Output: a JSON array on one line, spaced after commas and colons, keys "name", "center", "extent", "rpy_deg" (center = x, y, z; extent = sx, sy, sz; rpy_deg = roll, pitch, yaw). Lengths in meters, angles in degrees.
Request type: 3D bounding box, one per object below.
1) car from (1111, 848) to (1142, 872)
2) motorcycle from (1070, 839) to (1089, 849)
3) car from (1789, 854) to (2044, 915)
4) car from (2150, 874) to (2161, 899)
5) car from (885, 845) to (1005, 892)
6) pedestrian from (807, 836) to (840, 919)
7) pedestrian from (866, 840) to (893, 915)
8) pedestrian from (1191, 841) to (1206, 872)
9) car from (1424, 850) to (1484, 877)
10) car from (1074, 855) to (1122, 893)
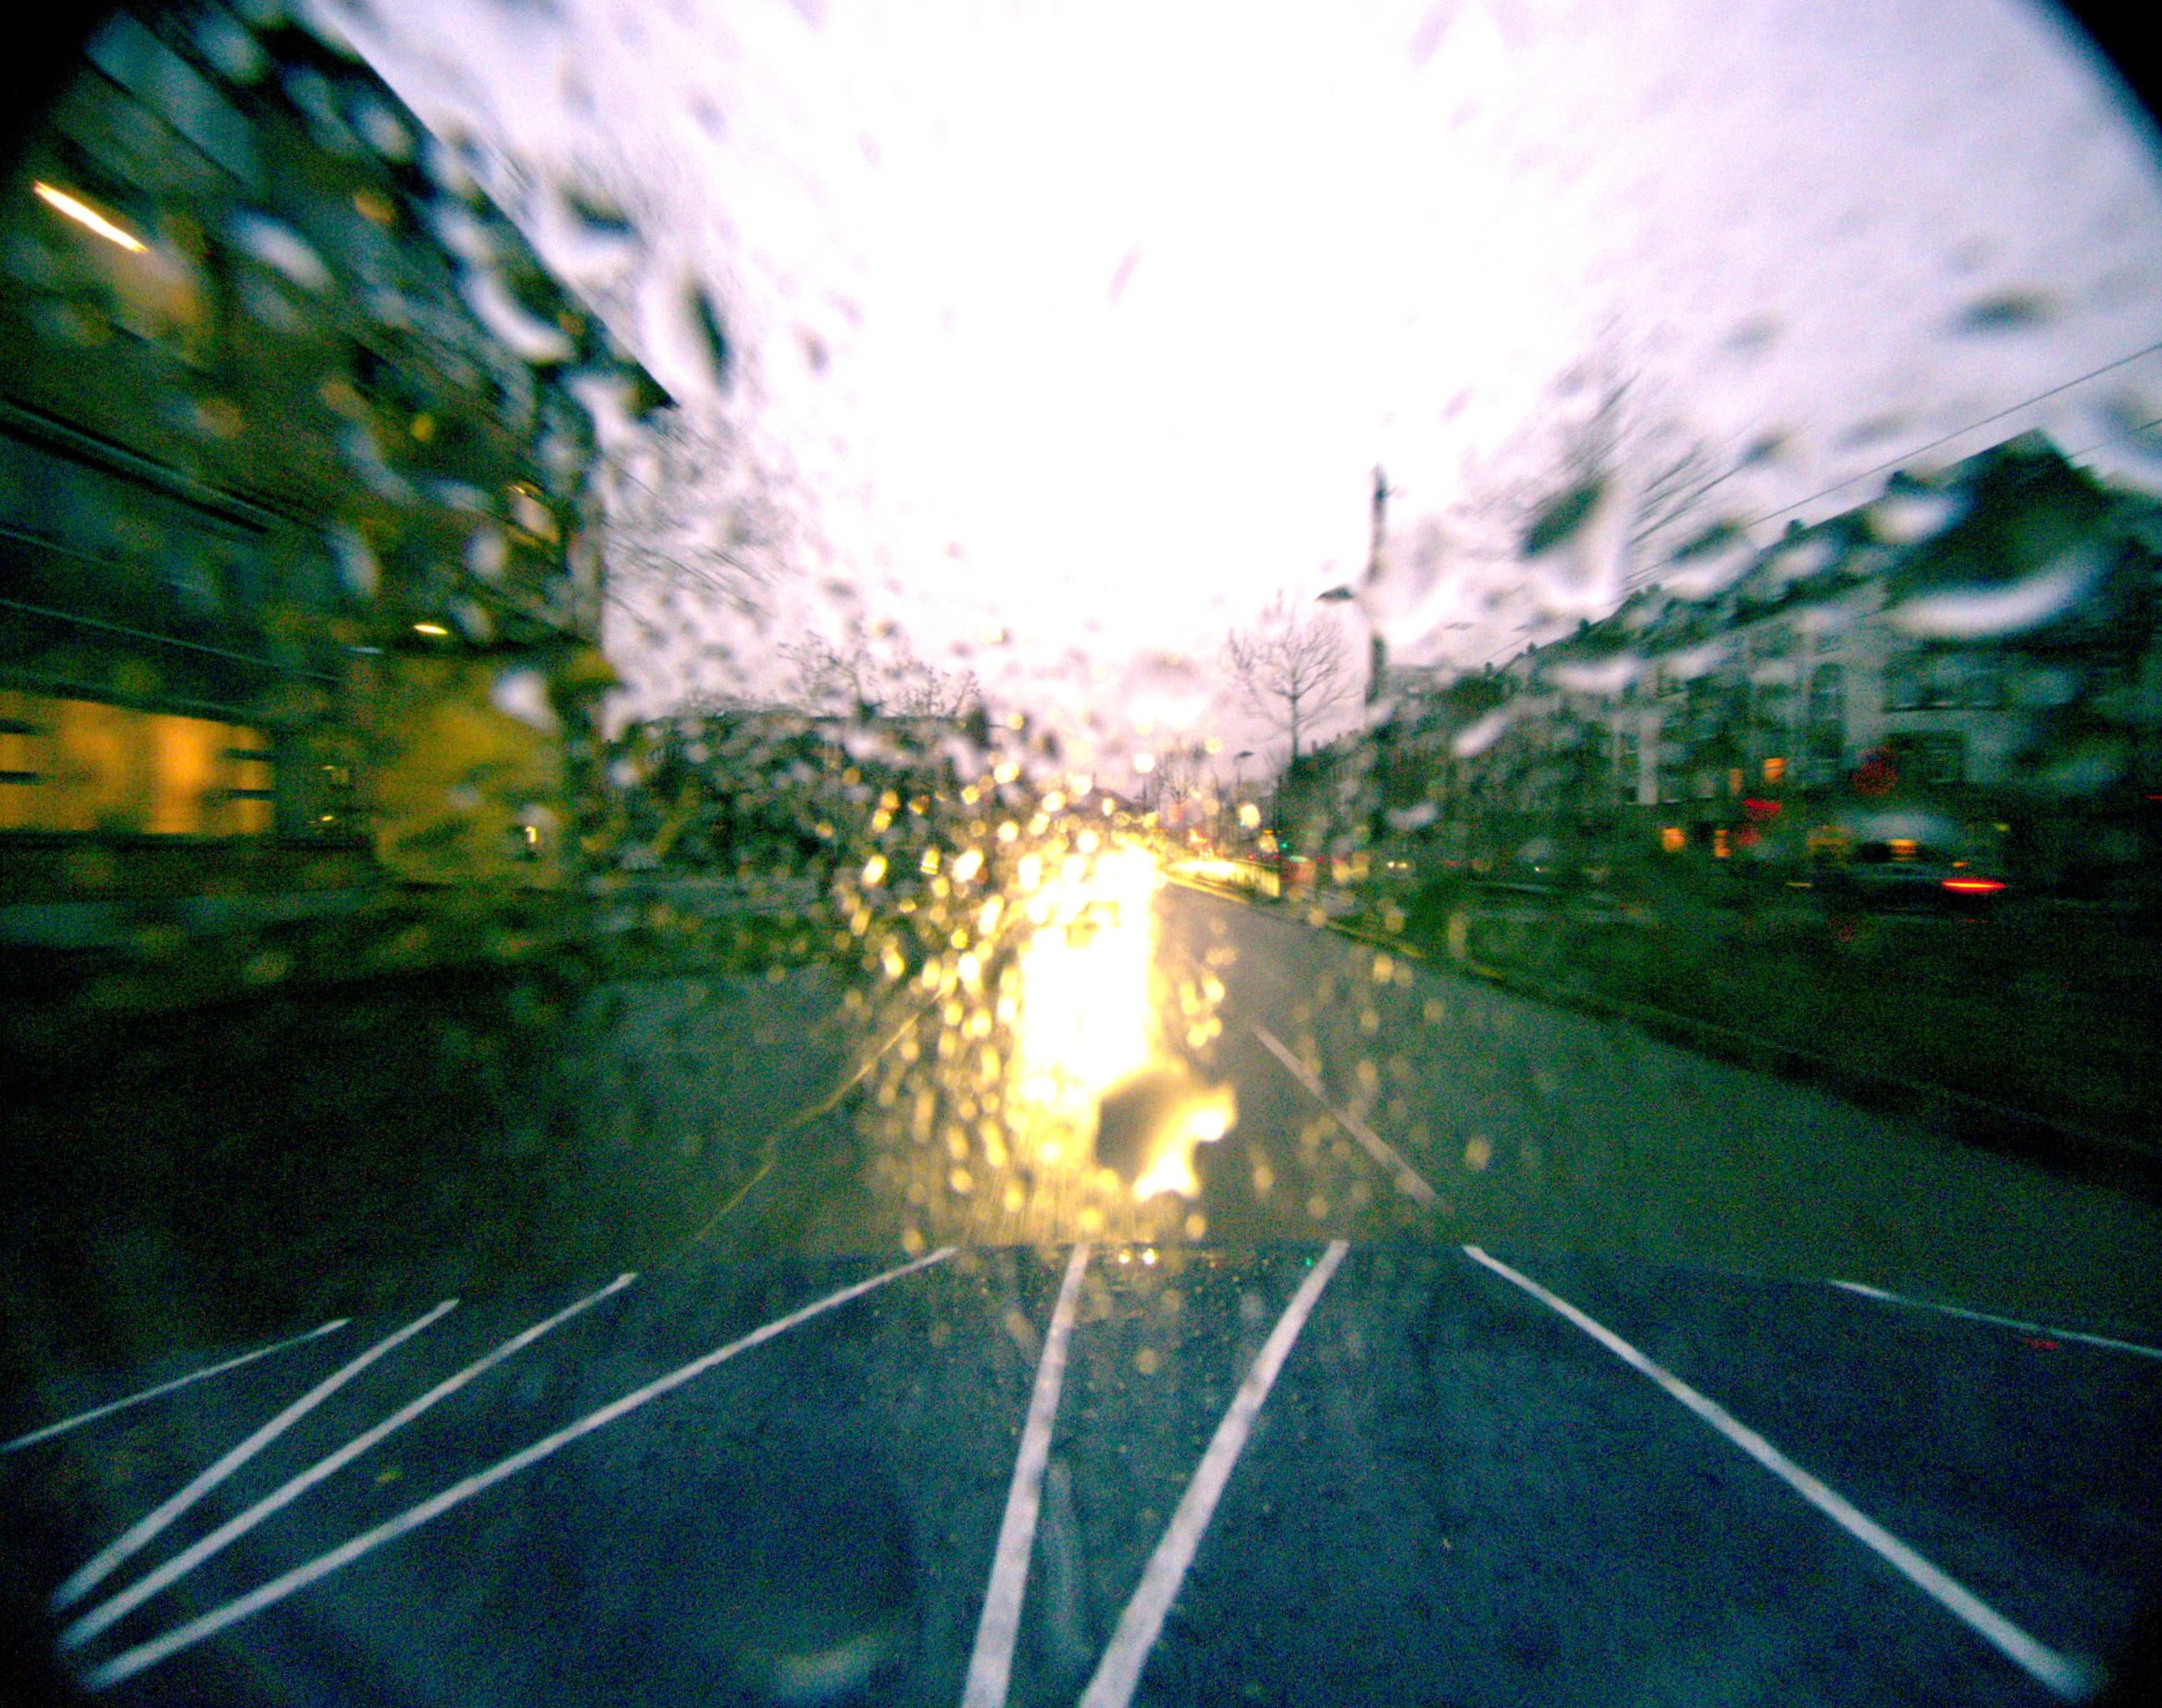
[{"name": "car", "center": [2.886, 0.372, 49.115], "extent": [1.813, 1.488, 4.053], "rpy_deg": [-1, 0, 1]}, {"name": "motorcycle", "center": [-0.279, -2.031, 159.368], "extent": [3.997, 2.002, 0.926], "rpy_deg": [-2, 2, 0]}, {"name": "car", "center": [22.666, 0.753, 20.981], "extent": [1.869, 1.444, 4.699], "rpy_deg": [1, 0, 1]}, {"name": "car", "center": [47.031, 1.404, 31.722], "extent": [2.897, 1.069, 1.331], "rpy_deg": [1, 1, 0]}, {"name": "car", "center": [-4.920, 0.492, 27.755], "extent": [3.996, 1.547, 1.742], "rpy_deg": [2, 1, 2]}, {"name": "pedestrian", "center": [-5.537, 0.488, 16.321], "extent": [0.506, 1.732, 0.656], "rpy_deg": [1, 1, -32]}, {"name": "pedestrian", "center": [-4.939, 0.563, 18.595], "extent": [0.506, 1.814, 0.656], "rpy_deg": [1, 1, -25]}, {"name": "pedestrian", "center": [7.827, 0.173, 50.617], "extent": [0.876, 2.002, 0.931], "rpy_deg": [2, 1, 11]}, {"name": "car", "center": [23.772, 0.584, 48.588], "extent": [1.869, 1.628, 4.000], "rpy_deg": [-2, 0, 1]}, {"name": "car", "center": [0.683, 0.783, 31.041], "extent": [1.813, 1.384, 4.053], "rpy_deg": [-1, 0, 1]}]
